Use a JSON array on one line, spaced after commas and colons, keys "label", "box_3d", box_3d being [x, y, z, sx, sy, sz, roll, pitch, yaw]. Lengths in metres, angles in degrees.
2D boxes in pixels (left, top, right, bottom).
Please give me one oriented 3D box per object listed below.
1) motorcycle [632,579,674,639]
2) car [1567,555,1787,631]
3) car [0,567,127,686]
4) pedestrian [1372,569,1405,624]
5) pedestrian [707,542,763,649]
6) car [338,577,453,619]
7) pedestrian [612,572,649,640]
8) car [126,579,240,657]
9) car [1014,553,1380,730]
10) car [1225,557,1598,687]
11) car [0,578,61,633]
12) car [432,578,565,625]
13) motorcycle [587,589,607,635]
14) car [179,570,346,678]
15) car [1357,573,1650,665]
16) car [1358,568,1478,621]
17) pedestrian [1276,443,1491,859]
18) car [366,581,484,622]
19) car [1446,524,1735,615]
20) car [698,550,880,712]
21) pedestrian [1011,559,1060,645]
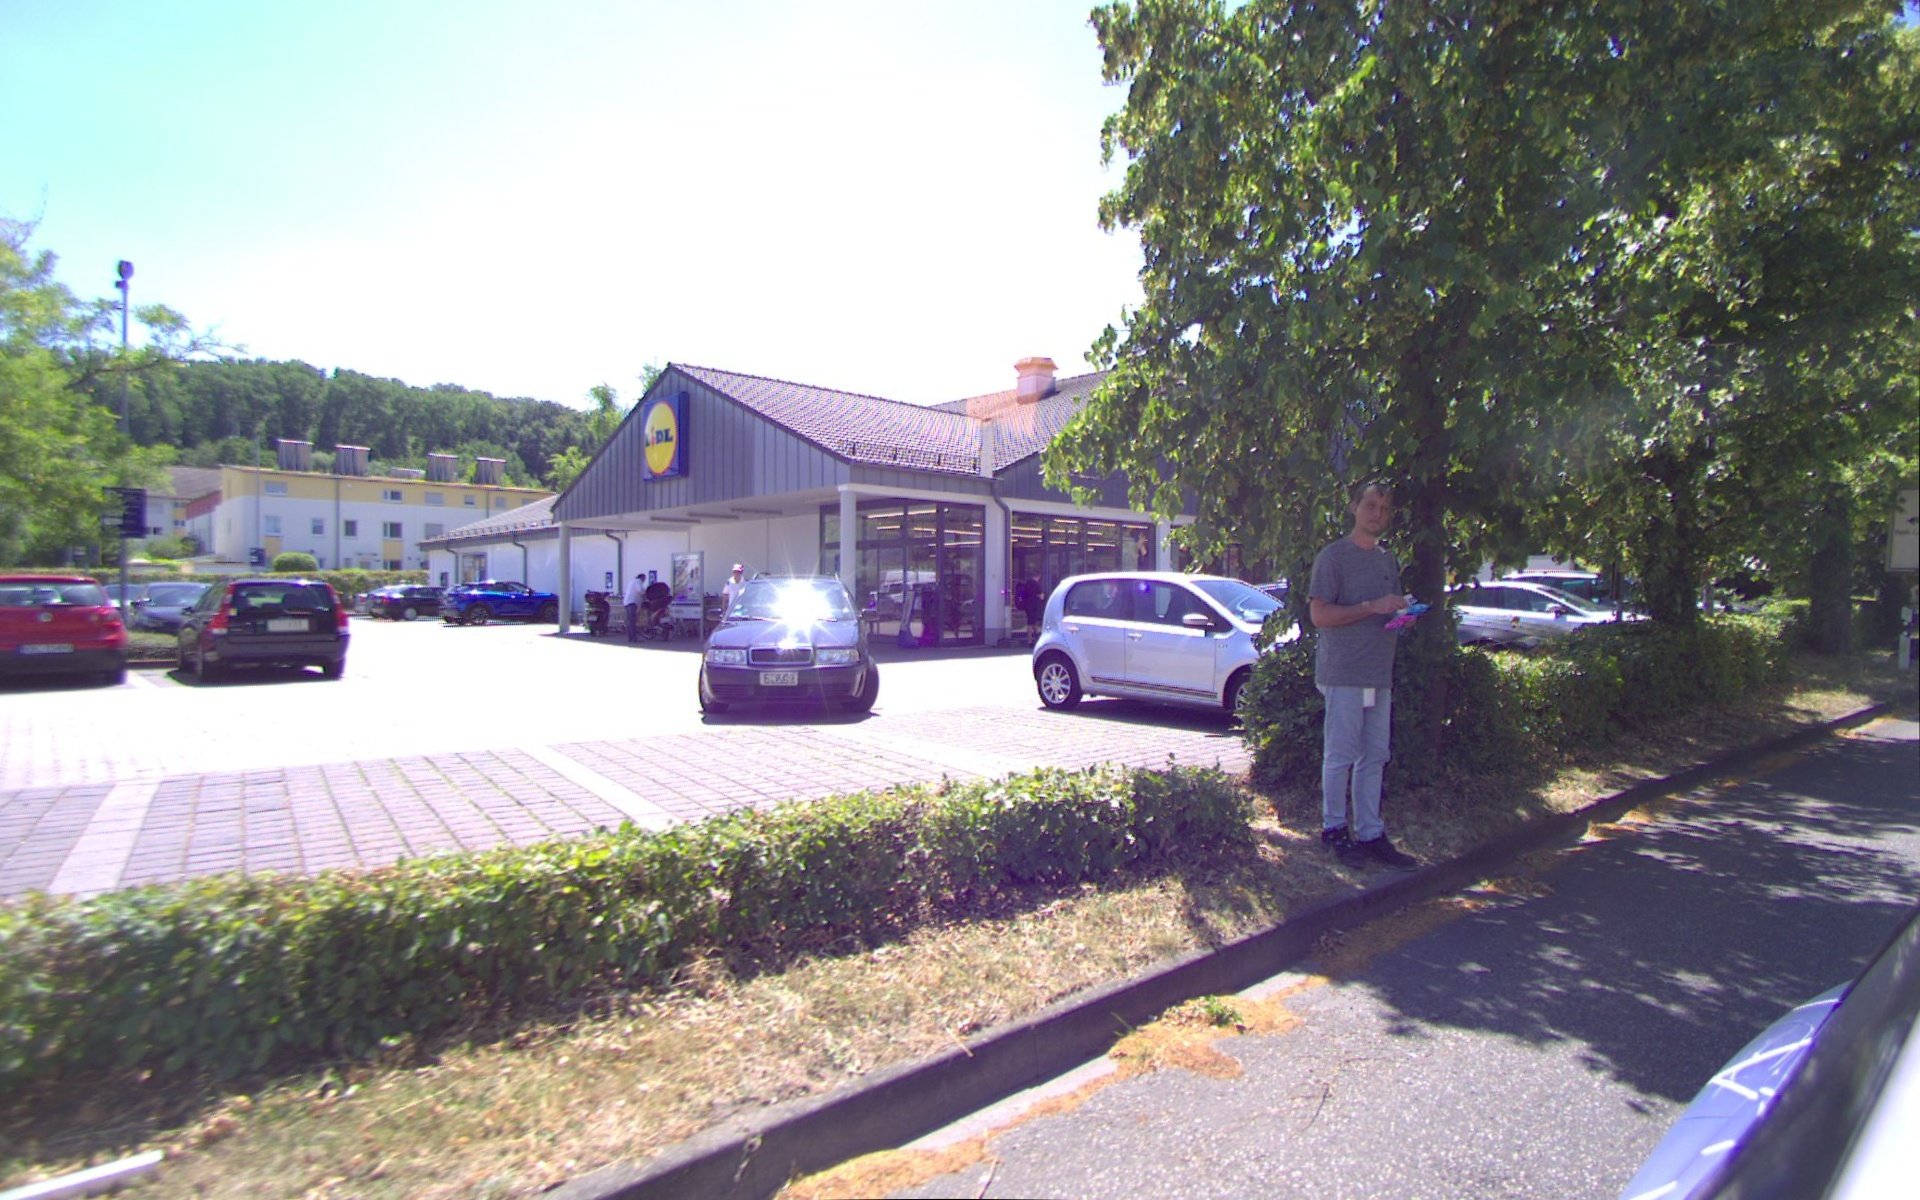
[{"label": "motorcycle", "box_3d": [-7.329, 0.195, 24.131, 0.382, 1.387, 1.475, -1, 1, -42]}, {"label": "car", "box_3d": [17.103, -0.200, 24.264, 1.966, 1.660, 3.992, -1, 2, -43]}, {"label": "car", "box_3d": [-12.851, 0.308, 14.153, 1.716, 1.476, 3.601, 0, 1, -42]}, {"label": "pedestrian", "box_3d": [14.112, -0.120, 33.305, 0.686, 1.763, 0.762, -1, 1, -39]}, {"label": "pedestrian", "box_3d": [-4.390, -0.098, 19.755, 0.790, 2.039, 0.783, -1, 1, -44]}, {"label": "car", "box_3d": [-24.172, -0.105, 43.385, 1.994, 1.705, 3.936, 2, 1, 45]}, {"label": "pedestrian", "box_3d": [-7.738, 0.128, 23.779, 0.549, 1.571, 0.802, -1, 1, -43]}, {"label": "car", "box_3d": [-15.325, 0.289, 19.914, 1.557, 1.381, 3.207, 0, 1, -42]}, {"label": "car", "box_3d": [2.336, 0.316, 10.510, 1.555, 1.525, 3.401, 1, 1, -43]}, {"label": "car", "box_3d": [6.010, 0.201, 13.842, 1.780, 1.499, 4.313, 0, 1, -45]}, {"label": "car", "box_3d": [-24.794, 0.107, 26.725, 1.406, 1.338, 3.418, -1, 2, -44]}, {"label": "car", "box_3d": [-16.562, 0.027, 36.417, 1.994, 1.571, 3.937, 2, 1, 43]}, {"label": "motorcycle", "box_3d": [-9.679, 0.307, 27.002, 0.391, 1.185, 1.492, 0, 1, -15]}, {"label": "car", "box_3d": [-10.603, 0.294, 15.295, 1.643, 1.435, 3.601, 0, 1, -42]}, {"label": "car", "box_3d": [9.522, 0.261, 17.955, 1.921, 1.428, 4.232, 0, 1, -45]}, {"label": "car", "box_3d": [18.420, -0.267, 40.773, 1.967, 2.039, 3.990, -1, 2, -44]}, {"label": "pedestrian", "box_3d": [2.028, 0.212, 4.886, 0.608, 1.811, 0.732, 0, 1, -33]}, {"label": "car", "box_3d": [-22.062, 0.022, 41.813, 1.994, 1.593, 3.938, 1, 2, 43]}, {"label": "car", "box_3d": [13.129, -0.595, 21.326, 1.966, 1.697, 4.854, 0, 1, -43]}, {"label": "car", "box_3d": [-1.849, 0.269, 11.781, 1.711, 1.523, 4.306, 0, 1, -6]}, {"label": "pedestrian", "box_3d": [1.592, 0.026, 21.281, 0.697, 1.775, 0.773, 1, 1, 42]}]
